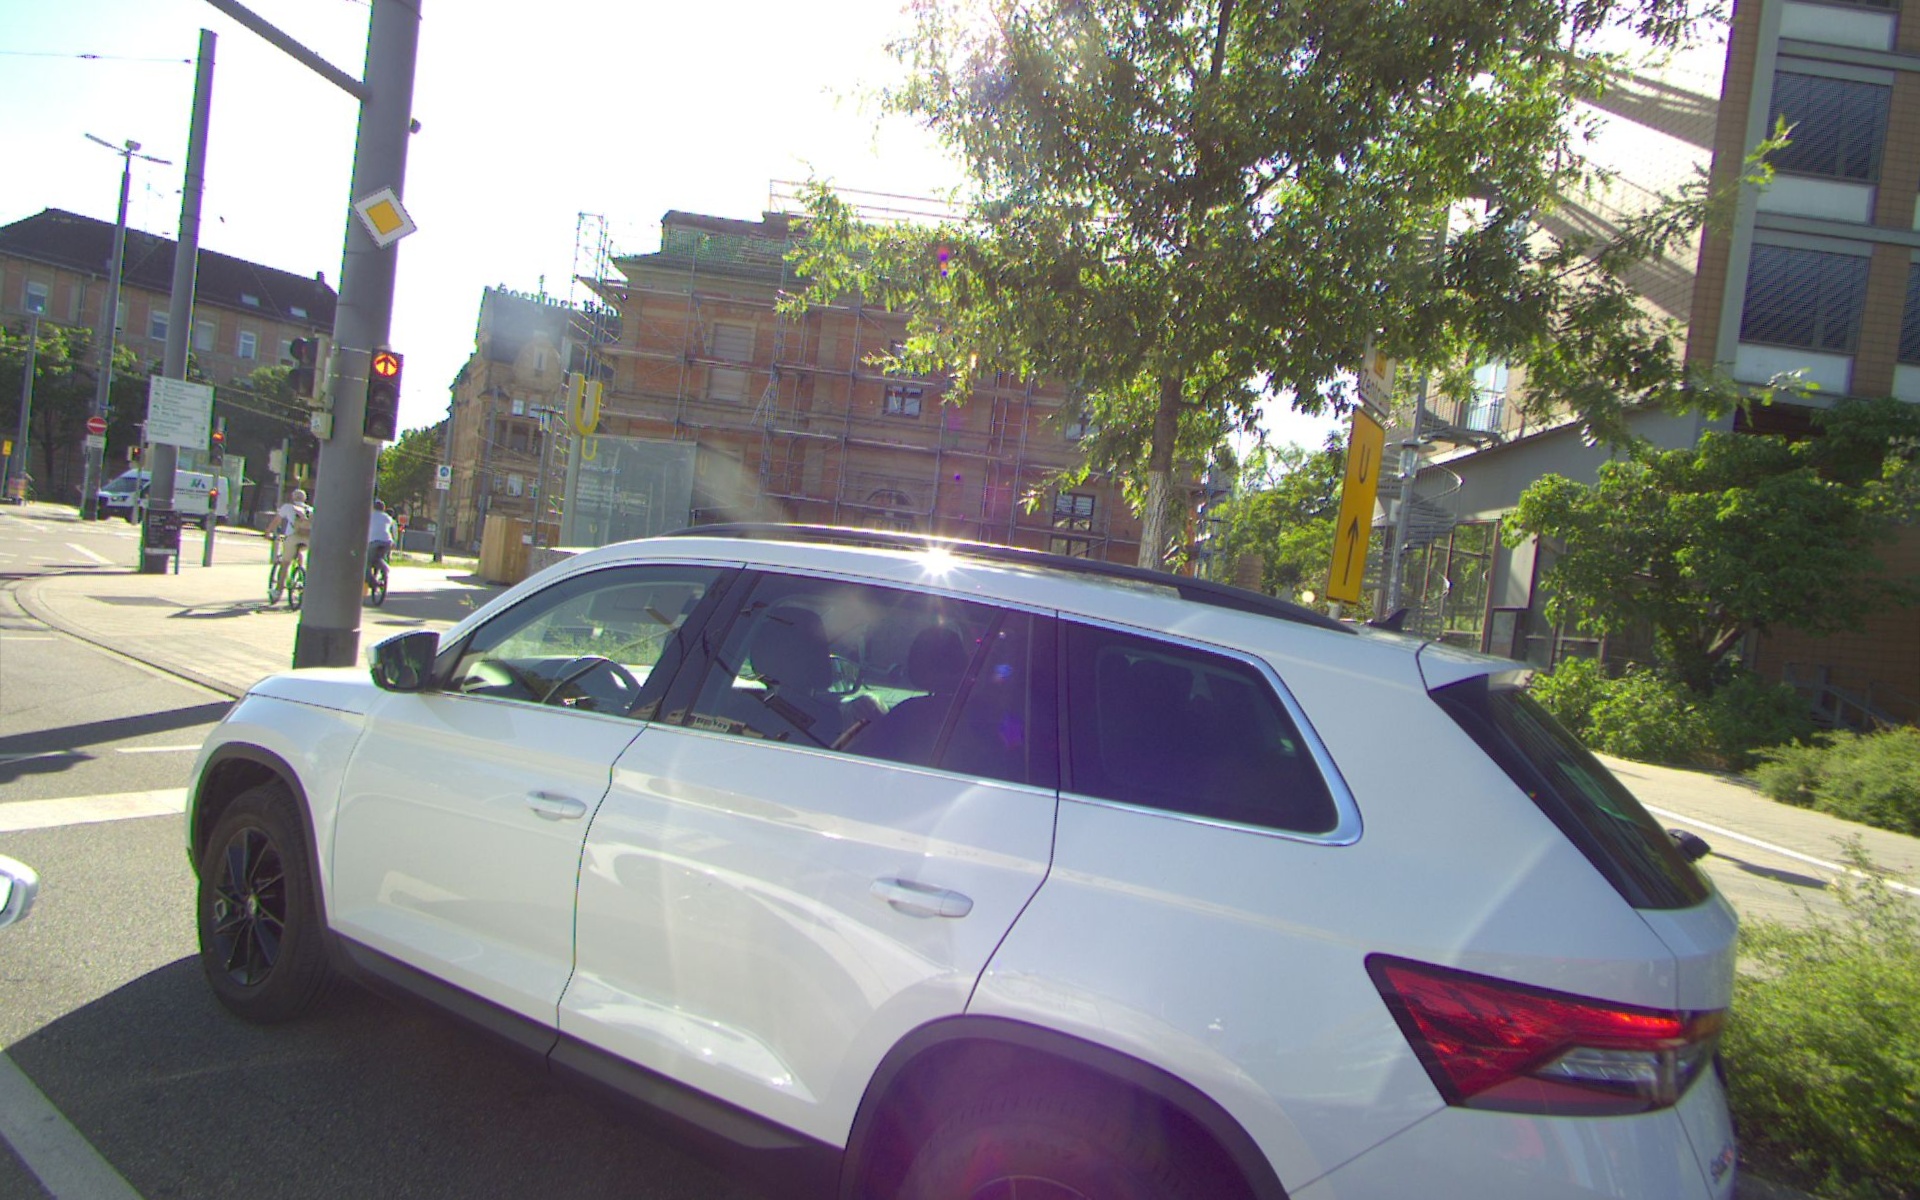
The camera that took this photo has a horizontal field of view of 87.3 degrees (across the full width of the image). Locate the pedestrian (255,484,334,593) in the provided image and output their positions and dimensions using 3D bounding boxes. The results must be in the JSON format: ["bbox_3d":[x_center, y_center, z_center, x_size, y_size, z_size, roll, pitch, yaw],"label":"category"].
[{"bbox_3d":[-10.500,-0.966,15.880,0.843,1.582,0.549,7,1,25],"label":"pedestrian"}]

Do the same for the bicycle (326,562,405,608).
[{"bbox_3d":[-10.750,-0.277,18.183,1.442,0.664,0.537,7,2,30],"label":"bicycle"}]

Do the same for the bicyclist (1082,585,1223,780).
[{"bbox_3d":[1.726,0.715,9.047,0.931,1.589,0.571,7,3,33],"label":"bicyclist"}]

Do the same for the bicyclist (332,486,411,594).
[{"bbox_3d":[-10.602,-1.076,18.128,0.908,1.802,0.748,7,2,29],"label":"bicyclist"}]

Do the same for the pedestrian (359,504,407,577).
[{"bbox_3d":[-16.110,-1.658,28.123,0.887,1.883,0.922,6,1,-23],"label":"pedestrian"}]

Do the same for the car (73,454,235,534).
[{"bbox_3d":[-37.627,-4.869,47.239,2.103,2.778,5.926,7,0,8],"label":"car"}]

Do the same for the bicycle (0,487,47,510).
[{"bbox_3d":[-47.428,-5.119,50.960,0.733,0.881,1.927,7,0,-11],"label":"bicycle"}]

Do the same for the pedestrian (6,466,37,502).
[{"bbox_3d":[-47.285,-5.849,50.675,0.746,1.652,0.716,7,1,-12],"label":"pedestrian"}]

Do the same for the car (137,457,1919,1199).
[{"bbox_3d":[-0.393,0.641,2.963,4.224,1.662,1.697,7,0,31],"label":"car"}]

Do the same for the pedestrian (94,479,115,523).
[{"bbox_3d":[-41.862,-4.831,49.225,0.443,2.039,0.462,7,2,14],"label":"pedestrian"}]

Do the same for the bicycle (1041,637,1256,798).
[{"bbox_3d":[1.674,1.006,9.076,1.712,1.140,0.571,7,2,33],"label":"bicycle"}]

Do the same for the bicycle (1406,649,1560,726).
[{"bbox_3d":[12.586,2.093,24.305,3.079,1.395,0.798,7,1,8],"label":"bicycle"}]

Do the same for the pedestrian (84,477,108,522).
[{"bbox_3d":[-41.617,-4.824,48.463,0.443,2.039,0.574,7,2,14],"label":"pedestrian"}]

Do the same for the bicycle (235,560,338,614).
[{"bbox_3d":[-10.718,-0.206,16.000,1.694,0.664,0.537,7,3,25],"label":"bicycle"}]
